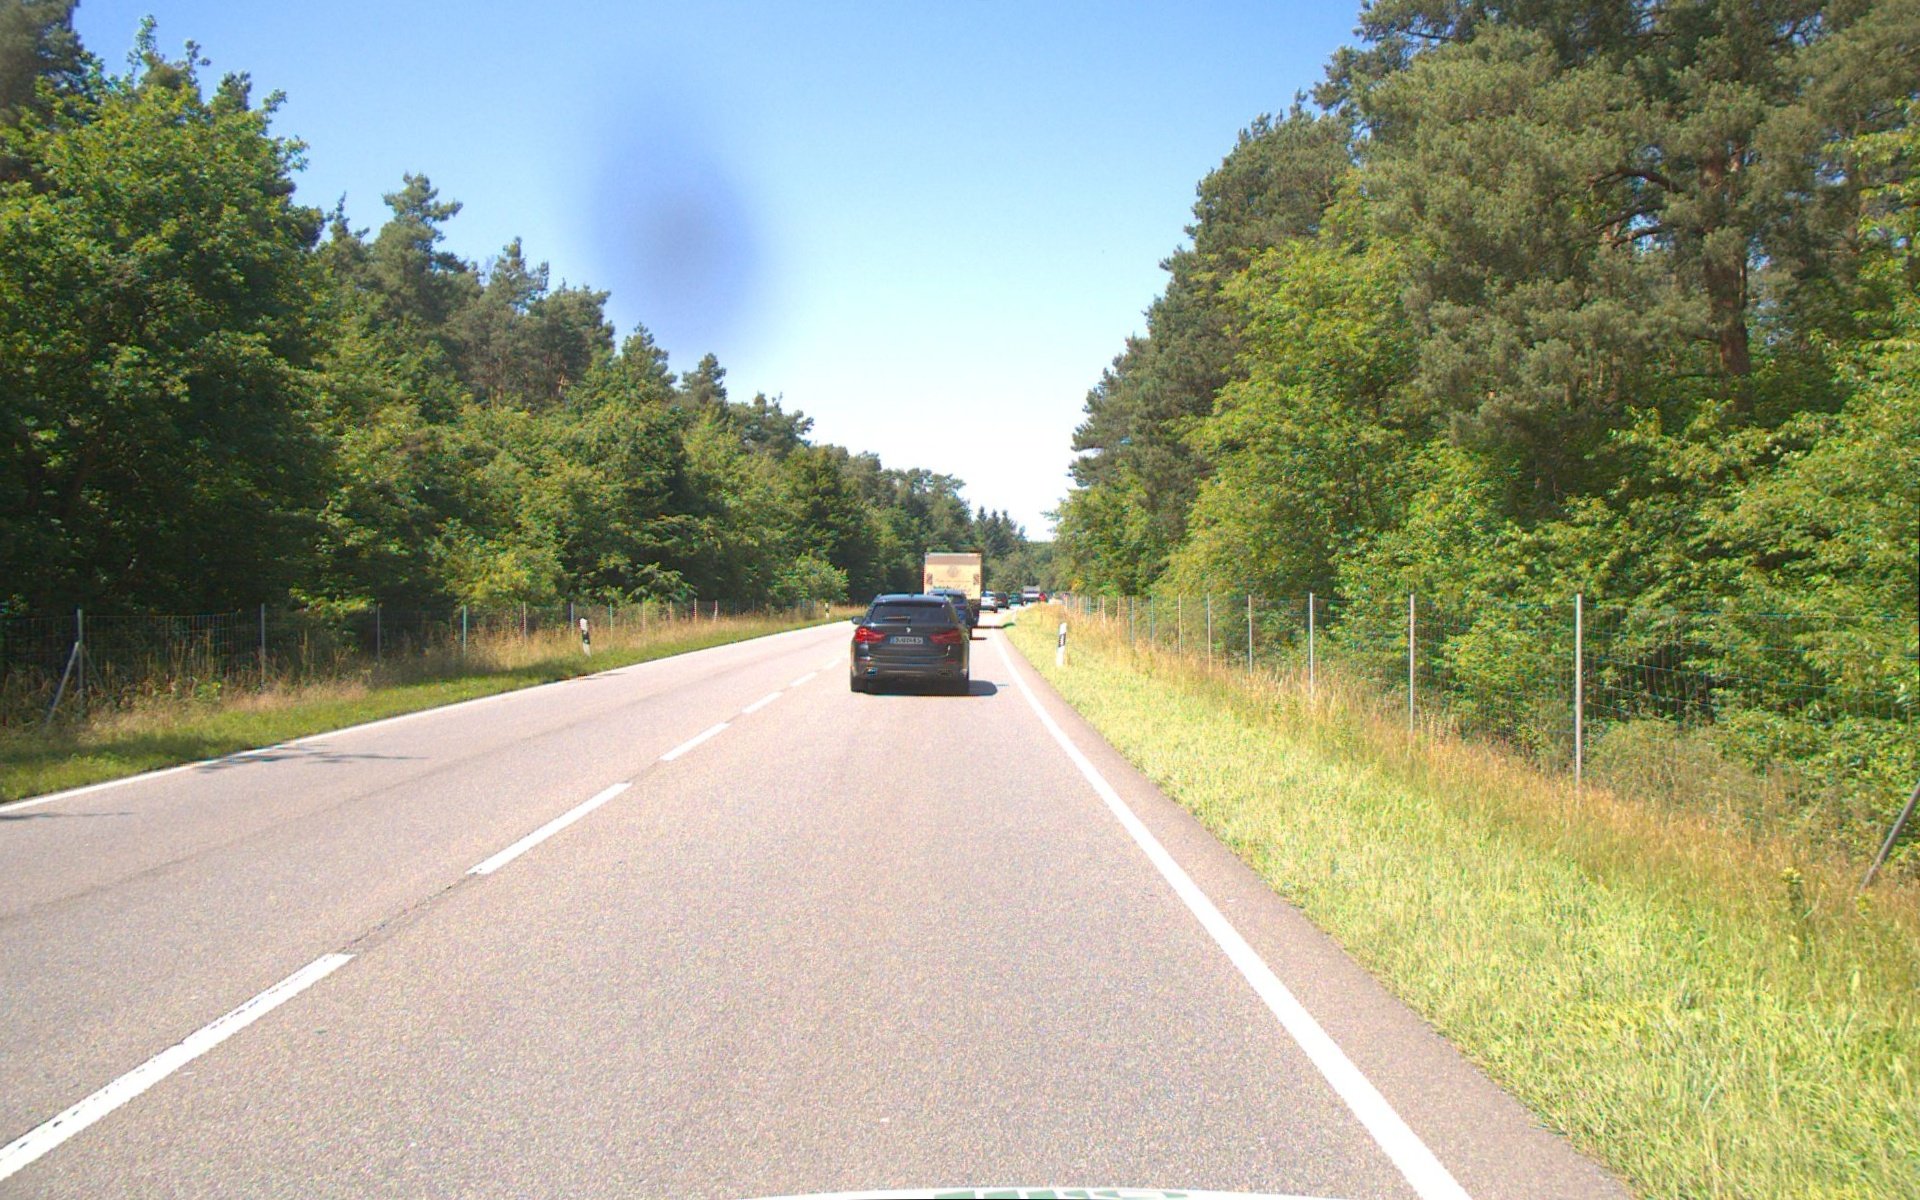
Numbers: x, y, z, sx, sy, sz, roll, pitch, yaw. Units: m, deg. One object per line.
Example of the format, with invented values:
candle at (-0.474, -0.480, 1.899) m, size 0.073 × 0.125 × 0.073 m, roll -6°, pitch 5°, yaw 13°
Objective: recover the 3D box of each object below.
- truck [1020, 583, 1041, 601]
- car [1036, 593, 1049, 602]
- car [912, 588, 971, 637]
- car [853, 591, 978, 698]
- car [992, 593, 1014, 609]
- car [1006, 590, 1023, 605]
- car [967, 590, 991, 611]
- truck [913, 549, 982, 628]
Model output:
truck at (9.342, -1.076, 217.578) m, size 2.509 × 2.240 × 4.977 m, roll -1°, pitch 1°, yaw 5°
car at (12.506, -0.348, 250.086) m, size 1.757 × 1.378 × 3.931 m, roll 0°, pitch 0°, yaw 5°
car at (-0.631, 0.399, 55.914) m, size 1.908 × 1.568 × 3.999 m, roll -1°, pitch 0°, yaw -1°
car at (-0.735, 0.640, 26.129) m, size 1.784 × 1.496 × 3.998 m, roll 1°, pitch 0°, yaw -3°
car at (4.094, 0.119, 159.669) m, size 1.953 × 1.445 × 3.999 m, roll 1°, pitch 1°, yaw -1°
car at (6.428, -0.284, 193.995) m, size 1.952 × 1.665 × 4.001 m, roll -1°, pitch 0°, yaw 2°
car at (1.495, 0.003, 130.108) m, size 1.825 × 1.633 × 3.999 m, roll 0°, pitch 0°, yaw -1°
truck at (-0.620, -0.536, 75.040) m, size 2.906 × 3.447 × 6.435 m, roll 0°, pitch 1°, yaw -2°
